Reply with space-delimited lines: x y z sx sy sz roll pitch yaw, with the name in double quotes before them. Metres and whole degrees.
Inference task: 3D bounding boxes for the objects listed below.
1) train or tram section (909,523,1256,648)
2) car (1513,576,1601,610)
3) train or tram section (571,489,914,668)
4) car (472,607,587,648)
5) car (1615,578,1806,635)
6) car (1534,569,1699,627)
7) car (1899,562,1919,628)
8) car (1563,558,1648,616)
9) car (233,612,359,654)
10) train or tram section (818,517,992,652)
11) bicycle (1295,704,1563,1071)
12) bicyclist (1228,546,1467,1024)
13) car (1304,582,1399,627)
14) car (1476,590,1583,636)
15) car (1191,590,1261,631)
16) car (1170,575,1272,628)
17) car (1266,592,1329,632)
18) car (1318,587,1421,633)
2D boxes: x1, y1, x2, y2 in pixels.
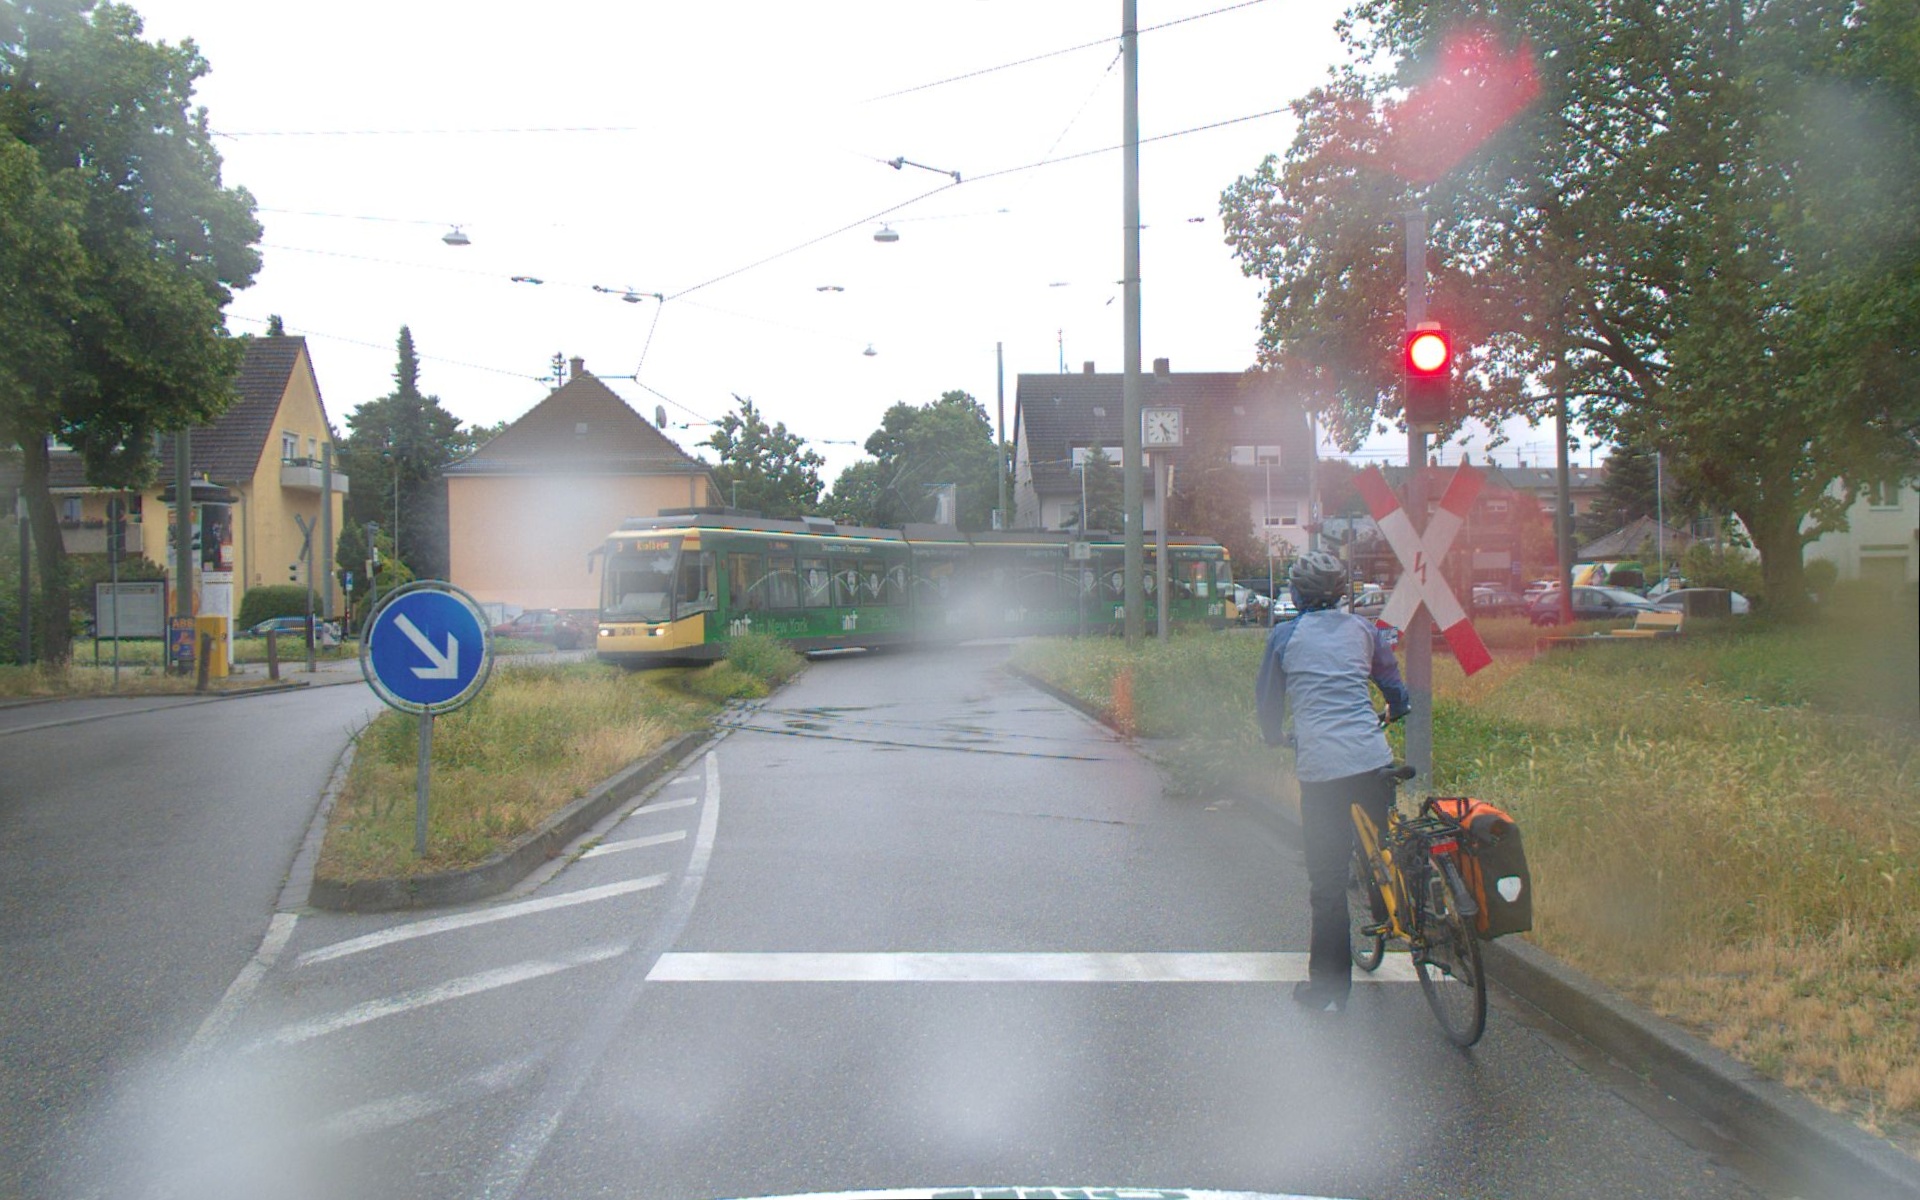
"train or tram section" 4.275 -0.380 53.050 13.011 3.615 2.729 0 0 -41
"car" 31.067 -0.353 86.071 3.905 1.668 1.846 1 0 -1
"train or tram section" -4.688 -0.439 39.760 2.704 3.615 12.204 0 0 21
"car" -16.184 1.029 62.326 3.911 1.482 1.831 1 0 -7
"car" 18.471 0.156 40.858 3.902 1.308 1.847 1 0 6
"car" 18.019 -0.068 45.495 3.848 1.522 1.798 1 -1 43
"car" 28.141 -0.109 45.526 3.703 1.829 1.798 1 -1 43
"car" 28.827 -0.561 74.024 1.953 2.485 4.352 1 0 -2
"car" -24.439 1.213 60.955 3.911 1.482 1.831 1 0 -7
"train or tram section" -1.490 -0.432 47.242 2.710 3.615 4.977 0 0 31
"bicycle" 1.652 0.958 6.073 0.437 1.022 1.727 -1 0 -2
"bicyclist" 1.422 0.648 6.190 0.653 1.654 0.852 1 -1 -2
"car" 18.094 0.234 76.539 3.907 1.985 1.999 1 -1 -3
"car" 22.612 0.513 65.739 3.609 1.731 1.890 1 0 0
"car" 11.401 0.466 70.736 1.954 1.668 3.997 1 0 24
"car" 12.018 0.071 76.410 4.307 2.365 1.999 1 -1 -3
"car" 14.563 0.523 71.174 1.804 1.668 3.997 1 0 24
"car" 16.154 0.400 65.339 3.609 1.731 1.890 1 0 0
